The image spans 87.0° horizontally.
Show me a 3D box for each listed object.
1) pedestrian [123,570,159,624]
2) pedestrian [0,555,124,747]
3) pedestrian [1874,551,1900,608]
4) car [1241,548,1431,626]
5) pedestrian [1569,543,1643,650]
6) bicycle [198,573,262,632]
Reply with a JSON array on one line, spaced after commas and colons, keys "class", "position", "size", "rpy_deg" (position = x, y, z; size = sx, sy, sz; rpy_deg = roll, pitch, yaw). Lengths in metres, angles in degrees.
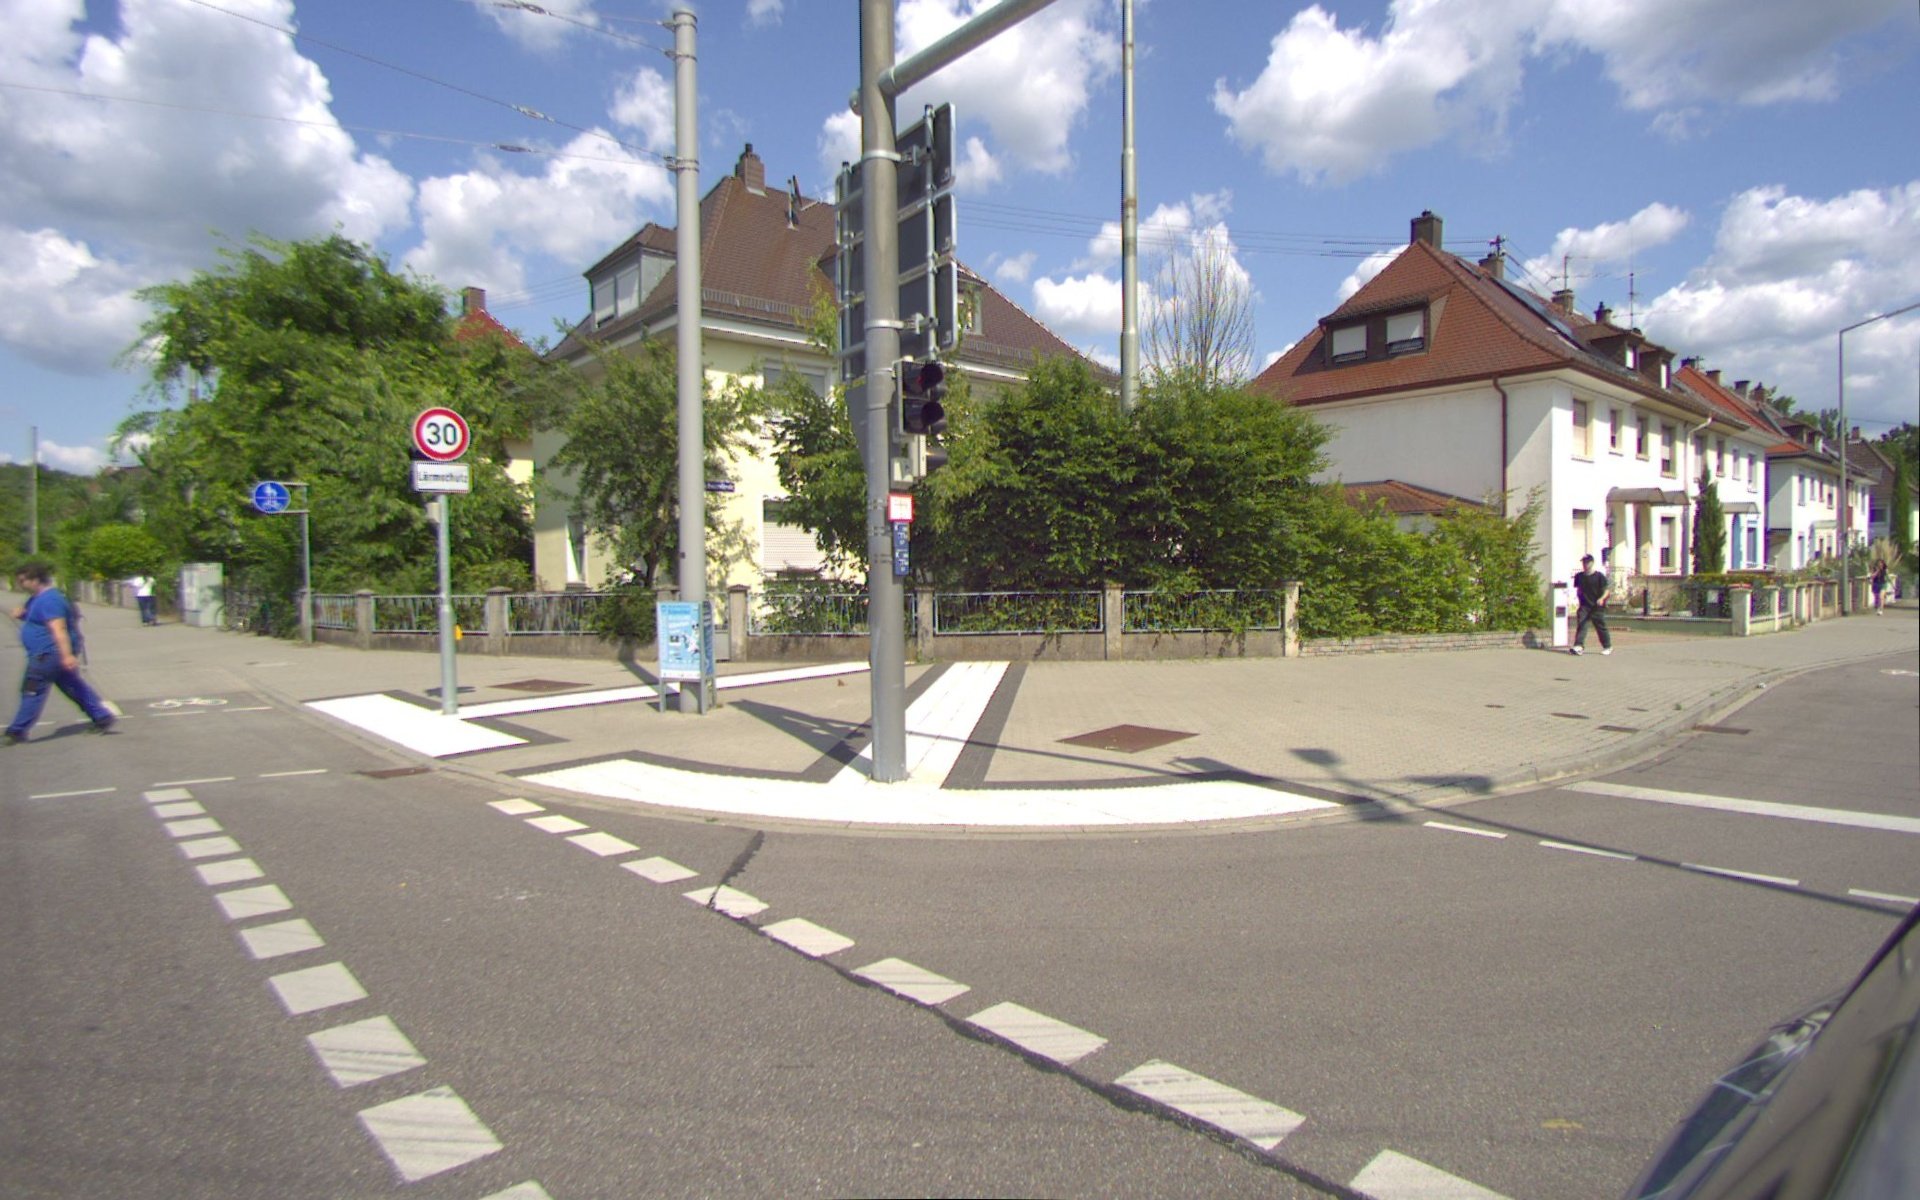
[{"class": "pedestrian", "position": [-22.138, -0.089, 27.364], "size": [0.674, 1.450, 0.515], "rpy_deg": [-2, 2, -34]}, {"class": "pedestrian", "position": [-8.883, 0.446, 9.845], "size": [1.029, 1.756, 1.024], "rpy_deg": [1, 2, 44]}, {"class": "pedestrian", "position": [28.322, -0.633, 30.918], "size": [0.607, 1.732, 0.518], "rpy_deg": [-2, 2, -40]}, {"class": "car", "position": [9.096, -0.361, 24.746], "size": [1.835, 1.729, 3.996], "rpy_deg": [-2, 2, -39]}, {"class": "pedestrian", "position": [11.024, -0.077, 17.270], "size": [0.918, 1.789, 0.594], "rpy_deg": [-1, 2, -19]}, {"class": "bicycle", "position": [-17.811, 0.029, 24.663], "size": [2.790, 1.351, 0.614], "rpy_deg": [1, 2, 41]}]
